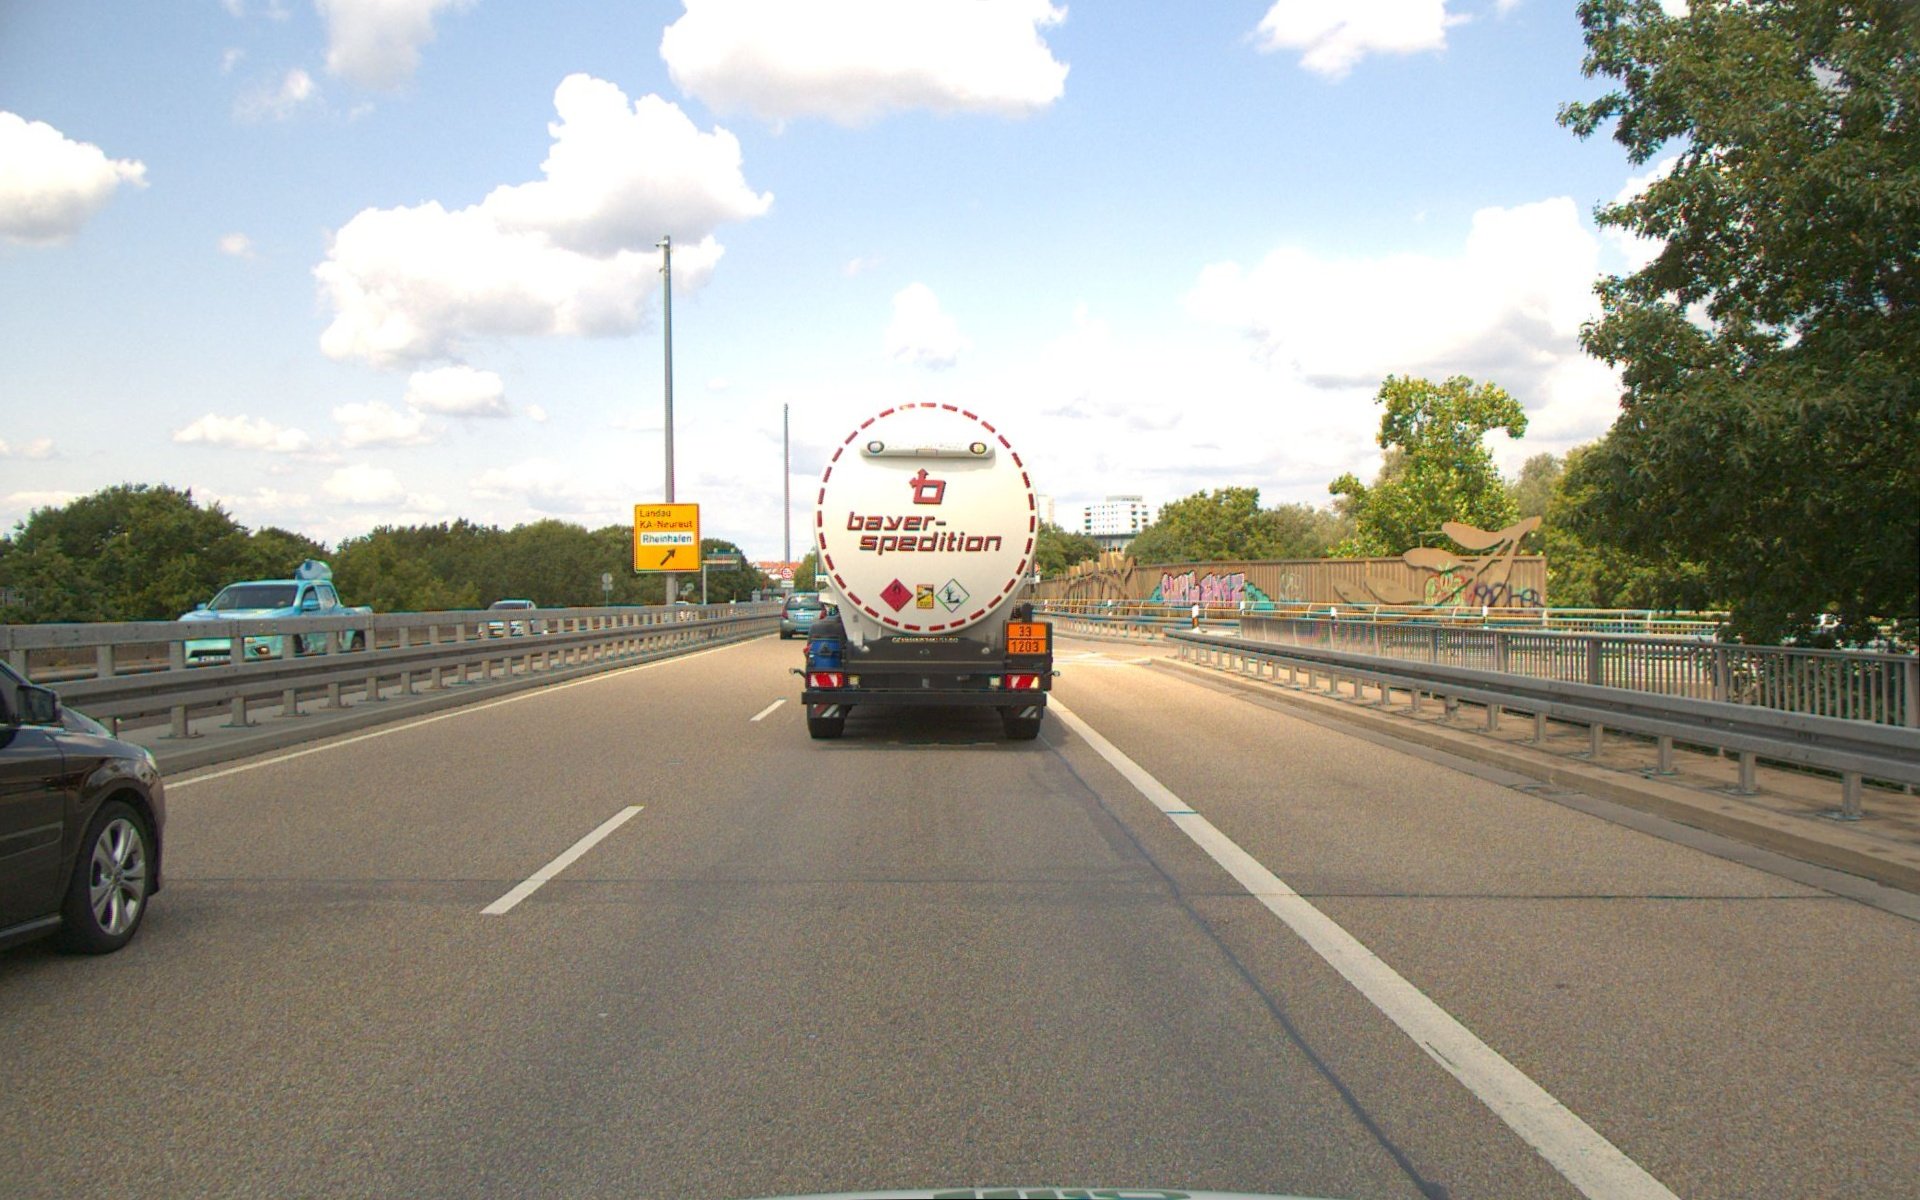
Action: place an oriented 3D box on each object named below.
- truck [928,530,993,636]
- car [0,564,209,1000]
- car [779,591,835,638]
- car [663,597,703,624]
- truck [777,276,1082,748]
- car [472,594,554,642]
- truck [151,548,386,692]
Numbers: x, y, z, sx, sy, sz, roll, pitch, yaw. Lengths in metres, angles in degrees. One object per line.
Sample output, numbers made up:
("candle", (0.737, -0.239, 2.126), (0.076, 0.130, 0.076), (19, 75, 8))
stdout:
("truck", (-0.057, -0.796, 81.102), (2.837, 4.892, 8.026), (1, 0, -2))
("car", (-4.238, 0.640, 5.258), (1.677, 1.554, 4.591), (1, 0, -1))
("car", (-5.345, 0.485, 58.260), (1.712, 1.558, 3.999), (0, 1, -2))
("car", (-17.682, 0.675, 105.632), (1.761, 1.624, 4.711), (-2, 0, -1))
("truck", (-0.422, -0.842, 19.740), (2.837, 4.445, 8.026), (1, 0, -2))
("car", (-15.198, 0.570, 56.470), (1.864, 1.555, 4.240), (1, 0, -3))
("truck", (-11.722, 0.307, 28.476), (1.834, 2.225, 5.188), (1, 0, 0))
